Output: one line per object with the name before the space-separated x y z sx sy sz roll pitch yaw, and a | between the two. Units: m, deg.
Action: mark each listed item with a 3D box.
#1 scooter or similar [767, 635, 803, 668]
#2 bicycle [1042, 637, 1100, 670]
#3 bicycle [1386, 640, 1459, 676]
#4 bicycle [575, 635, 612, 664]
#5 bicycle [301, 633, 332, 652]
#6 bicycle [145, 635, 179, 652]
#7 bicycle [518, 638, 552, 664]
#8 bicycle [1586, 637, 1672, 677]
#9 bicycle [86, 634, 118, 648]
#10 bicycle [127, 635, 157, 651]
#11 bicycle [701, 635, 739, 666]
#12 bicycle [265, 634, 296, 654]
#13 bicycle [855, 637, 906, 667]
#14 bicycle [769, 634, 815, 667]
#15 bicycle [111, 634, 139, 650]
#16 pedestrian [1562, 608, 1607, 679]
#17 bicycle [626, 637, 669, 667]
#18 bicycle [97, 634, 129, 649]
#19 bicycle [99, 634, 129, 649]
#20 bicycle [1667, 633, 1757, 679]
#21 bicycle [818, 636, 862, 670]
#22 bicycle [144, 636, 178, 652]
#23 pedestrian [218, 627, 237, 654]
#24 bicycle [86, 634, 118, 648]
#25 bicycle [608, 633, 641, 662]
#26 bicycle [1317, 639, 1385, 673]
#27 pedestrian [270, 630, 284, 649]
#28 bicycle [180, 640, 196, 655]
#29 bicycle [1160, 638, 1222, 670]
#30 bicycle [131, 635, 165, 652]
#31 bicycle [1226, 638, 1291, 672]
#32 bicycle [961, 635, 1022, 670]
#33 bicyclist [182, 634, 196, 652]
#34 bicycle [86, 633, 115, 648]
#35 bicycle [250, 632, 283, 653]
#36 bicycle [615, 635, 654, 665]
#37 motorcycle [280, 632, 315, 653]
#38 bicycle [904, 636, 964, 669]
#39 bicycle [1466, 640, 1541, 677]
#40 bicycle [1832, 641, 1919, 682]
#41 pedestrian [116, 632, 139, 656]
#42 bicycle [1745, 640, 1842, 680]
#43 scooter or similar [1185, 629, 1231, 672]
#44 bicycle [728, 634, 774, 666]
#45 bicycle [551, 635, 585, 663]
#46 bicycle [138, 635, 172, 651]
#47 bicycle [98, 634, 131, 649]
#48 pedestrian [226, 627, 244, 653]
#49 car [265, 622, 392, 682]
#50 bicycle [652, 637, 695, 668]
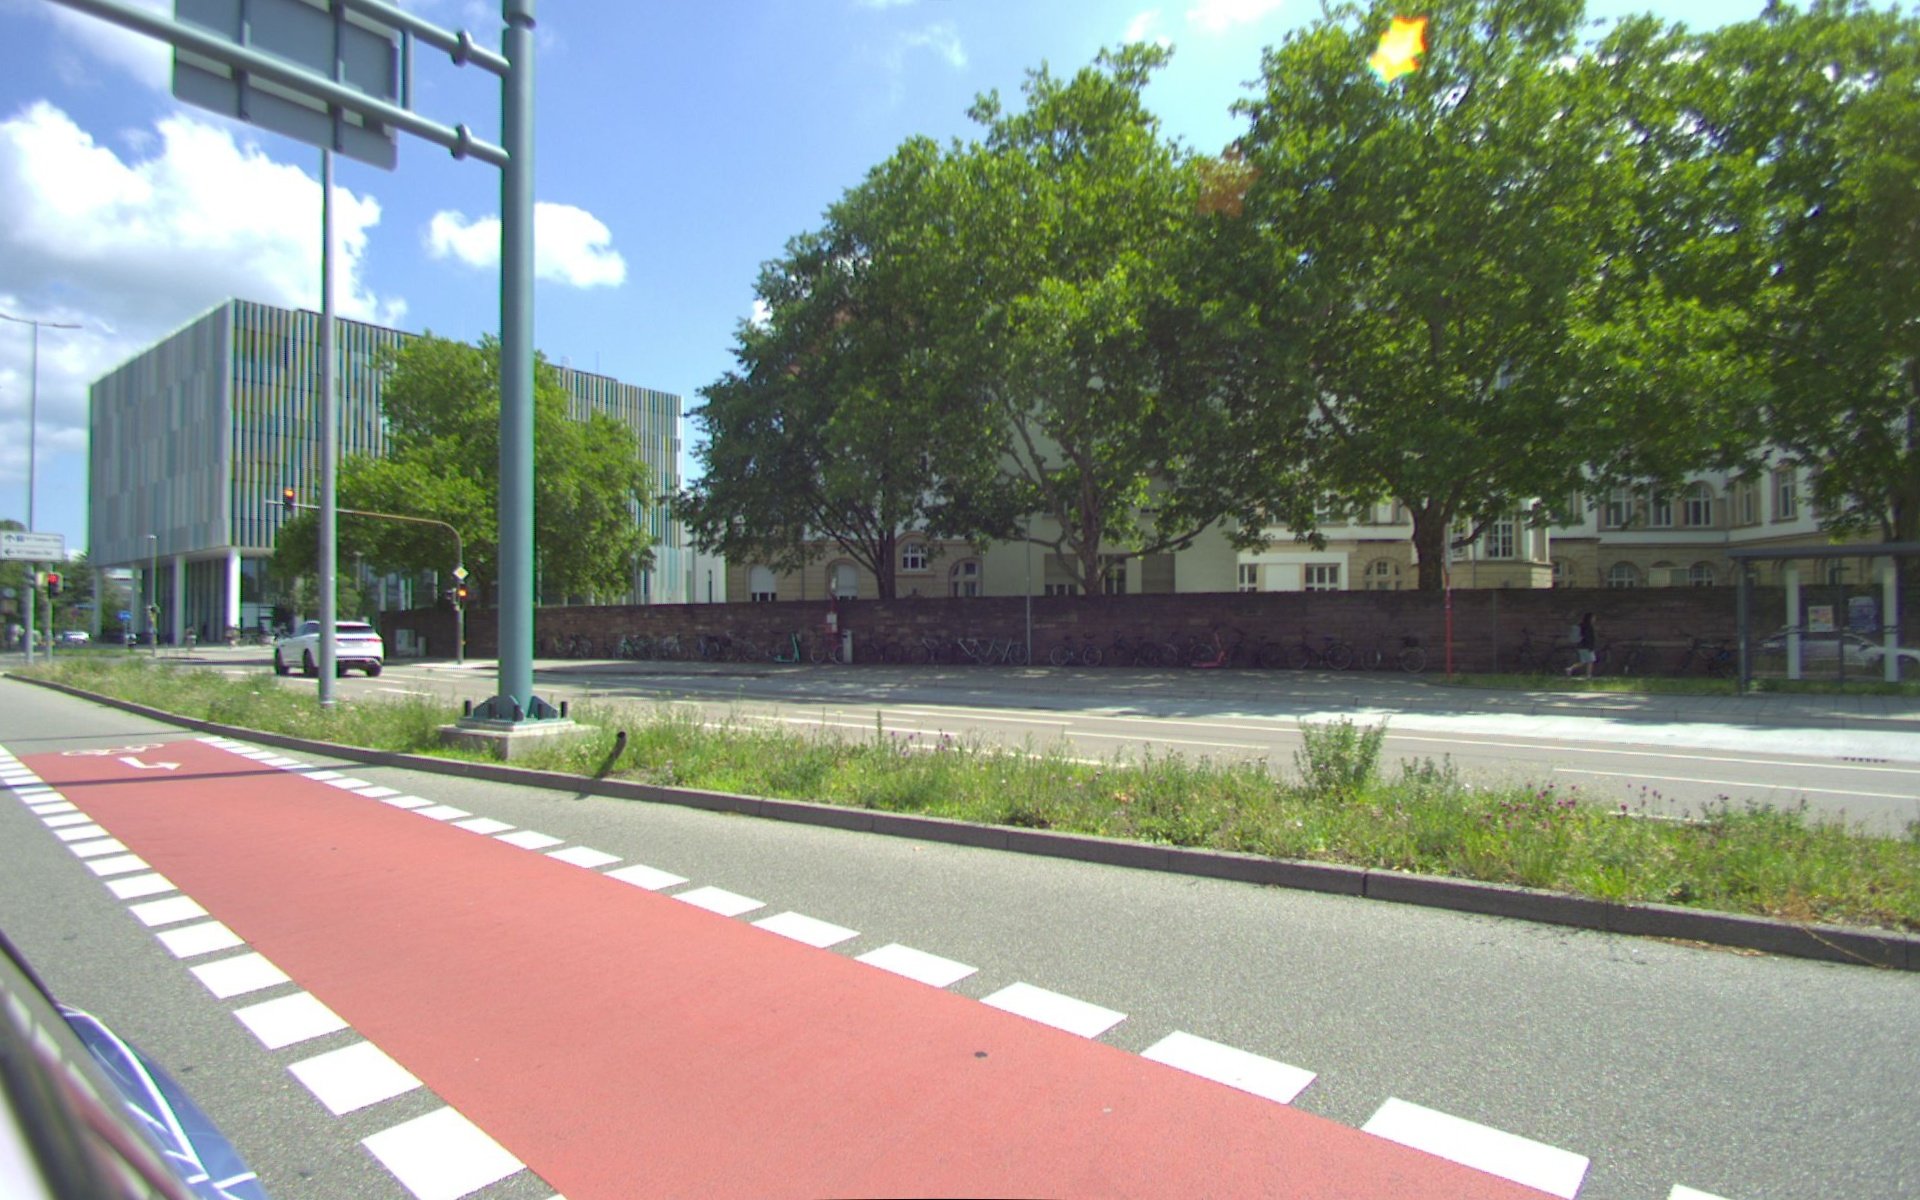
scooter or similar | -6.151 1.813 35.560 1.184 1.161 0.430 -1 -2 20
bicycle | 3.370 1.622 30.692 1.658 0.956 0.540 -1 -2 29
bicycle | 12.126 1.499 26.556 1.663 0.909 0.497 -2 -2 38
bicycle | -15.319 2.060 42.321 1.589 1.161 0.616 -2 -2 33
bicycle | -52.315 3.436 82.275 1.034 1.564 3.423 0 -2 -13
bicycle | -74.700 4.084 94.798 2.473 1.506 0.731 1 -2 -39
bicycle | -18.718 2.242 44.541 1.589 1.107 0.567 -2 -2 33
bicycle | 16.486 1.403 24.973 1.655 0.959 0.541 -1 -2 24
bicycle | -90.754 4.313 107.050 0.621 1.506 2.479 -2 -2 41
bicycle | -79.355 4.148 98.233 0.621 1.506 2.172 -2 -2 41
bicycle | -9.063 1.898 38.184 1.587 1.161 0.398 -2 -2 30
bicycle | -55.024 3.559 81.959 0.919 1.505 2.690 0 -1 -4
bicycle | -2.702 1.755 34.345 1.795 1.016 0.476 -2 -2 32
bicycle | -6.010 1.803 36.192 1.582 1.161 0.530 -1 -2 19
bicycle | -84.302 4.223 102.189 0.621 1.506 2.044 -2 -2 41
pedestrian | 14.676 1.012 23.792 0.752 1.629 0.612 -1 -1 20
bicycle | -12.256 2.028 39.689 1.576 1.161 0.401 -1 -2 8
bicycle | -87.294 4.262 104.339 0.621 1.506 2.479 -2 -2 41
bicycle | -87.966 4.279 105.200 0.621 1.506 2.300 -2 -2 41
bicycle | 18.013 1.340 24.264 1.614 1.059 0.541 -1 -2 24
bicycle | -4.181 1.848 35.227 1.587 1.151 0.429 -2 -2 29
bicycle | -74.120 4.068 93.926 0.621 1.506 2.420 -2 -2 41
pedestrian | -53.519 2.960 73.940 0.955 1.940 0.882 0 -2 -20
bicycle | -90.293 4.303 106.511 0.621 1.506 2.479 -2 -2 41
bicycle | -13.733 1.939 41.420 1.591 1.161 0.408 -2 -2 36
bicycle | 10.613 1.512 27.474 1.656 0.909 0.540 -1 -2 26
pedestrian | -61.849 3.548 91.635 0.997 1.720 1.213 1 -2 -33
bicycle | -53.297 3.243 69.873 0.636 1.006 2.170 0 -2 -30
bicycle | 6.678 1.551 29.298 1.658 0.909 0.540 -1 -2 29
bicycle | -77.105 4.107 96.102 0.621 1.506 2.479 -2 -2 41
bicycle | 8.372 1.533 28.427 1.658 0.909 0.540 -1 -2 29
bicycle | 0.986 1.662 32.095 1.887 1.055 0.540 -1 -2 29
bicyclist | -53.360 2.988 70.020 0.608 1.235 0.836 0 -2 -28
bicycle | -91.668 4.331 107.960 0.656 1.506 2.273 -2 -2 41
bicycle | -56.068 3.406 81.863 0.797 1.656 3.420 0 -2 -8
bicycle | -13.008 1.992 40.419 1.581 1.161 0.400 -1 -2 18
motorcycle | -53.690 3.456 82.072 0.957 1.652 3.301 0 -2 -5
bicycle | -0.862 1.707 33.244 1.941 1.055 0.540 -1 -2 29
bicycle | 13.943 1.495 25.998 1.656 0.909 0.540 -1 -2 26
bicycle | 21.290 1.417 23.349 1.653 0.909 0.541 -1 -2 21
pedestrian | -57.507 3.015 69.933 0.875 1.641 0.962 -1 -2 30
bicycle | 19.677 1.417 23.928 1.653 0.909 0.541 -1 -2 21
scooter or similar | 6.959 1.415 28.401 1.184 1.192 0.430 -1 -2 20
bicycle | -7.633 1.816 36.964 1.582 1.161 0.530 -1 -2 19
bicycle | -16.763 2.093 43.255 1.589 1.161 0.495 -2 -2 33
bicycle | -77.314 4.131 97.248 0.621 1.506 2.479 -2 -2 41
bicycle | -86.509 4.247 103.545 0.621 1.506 2.479 -2 -2 41
pedestrian | -55.038 3.038 76.809 0.955 1.940 0.882 0 -2 -23
car | -19.203 1.533 30.697 4.774 1.680 2.049 -2 -2 42
bicycle | -11.055 2.017 39.070 1.576 1.161 0.401 -1 -2 8
